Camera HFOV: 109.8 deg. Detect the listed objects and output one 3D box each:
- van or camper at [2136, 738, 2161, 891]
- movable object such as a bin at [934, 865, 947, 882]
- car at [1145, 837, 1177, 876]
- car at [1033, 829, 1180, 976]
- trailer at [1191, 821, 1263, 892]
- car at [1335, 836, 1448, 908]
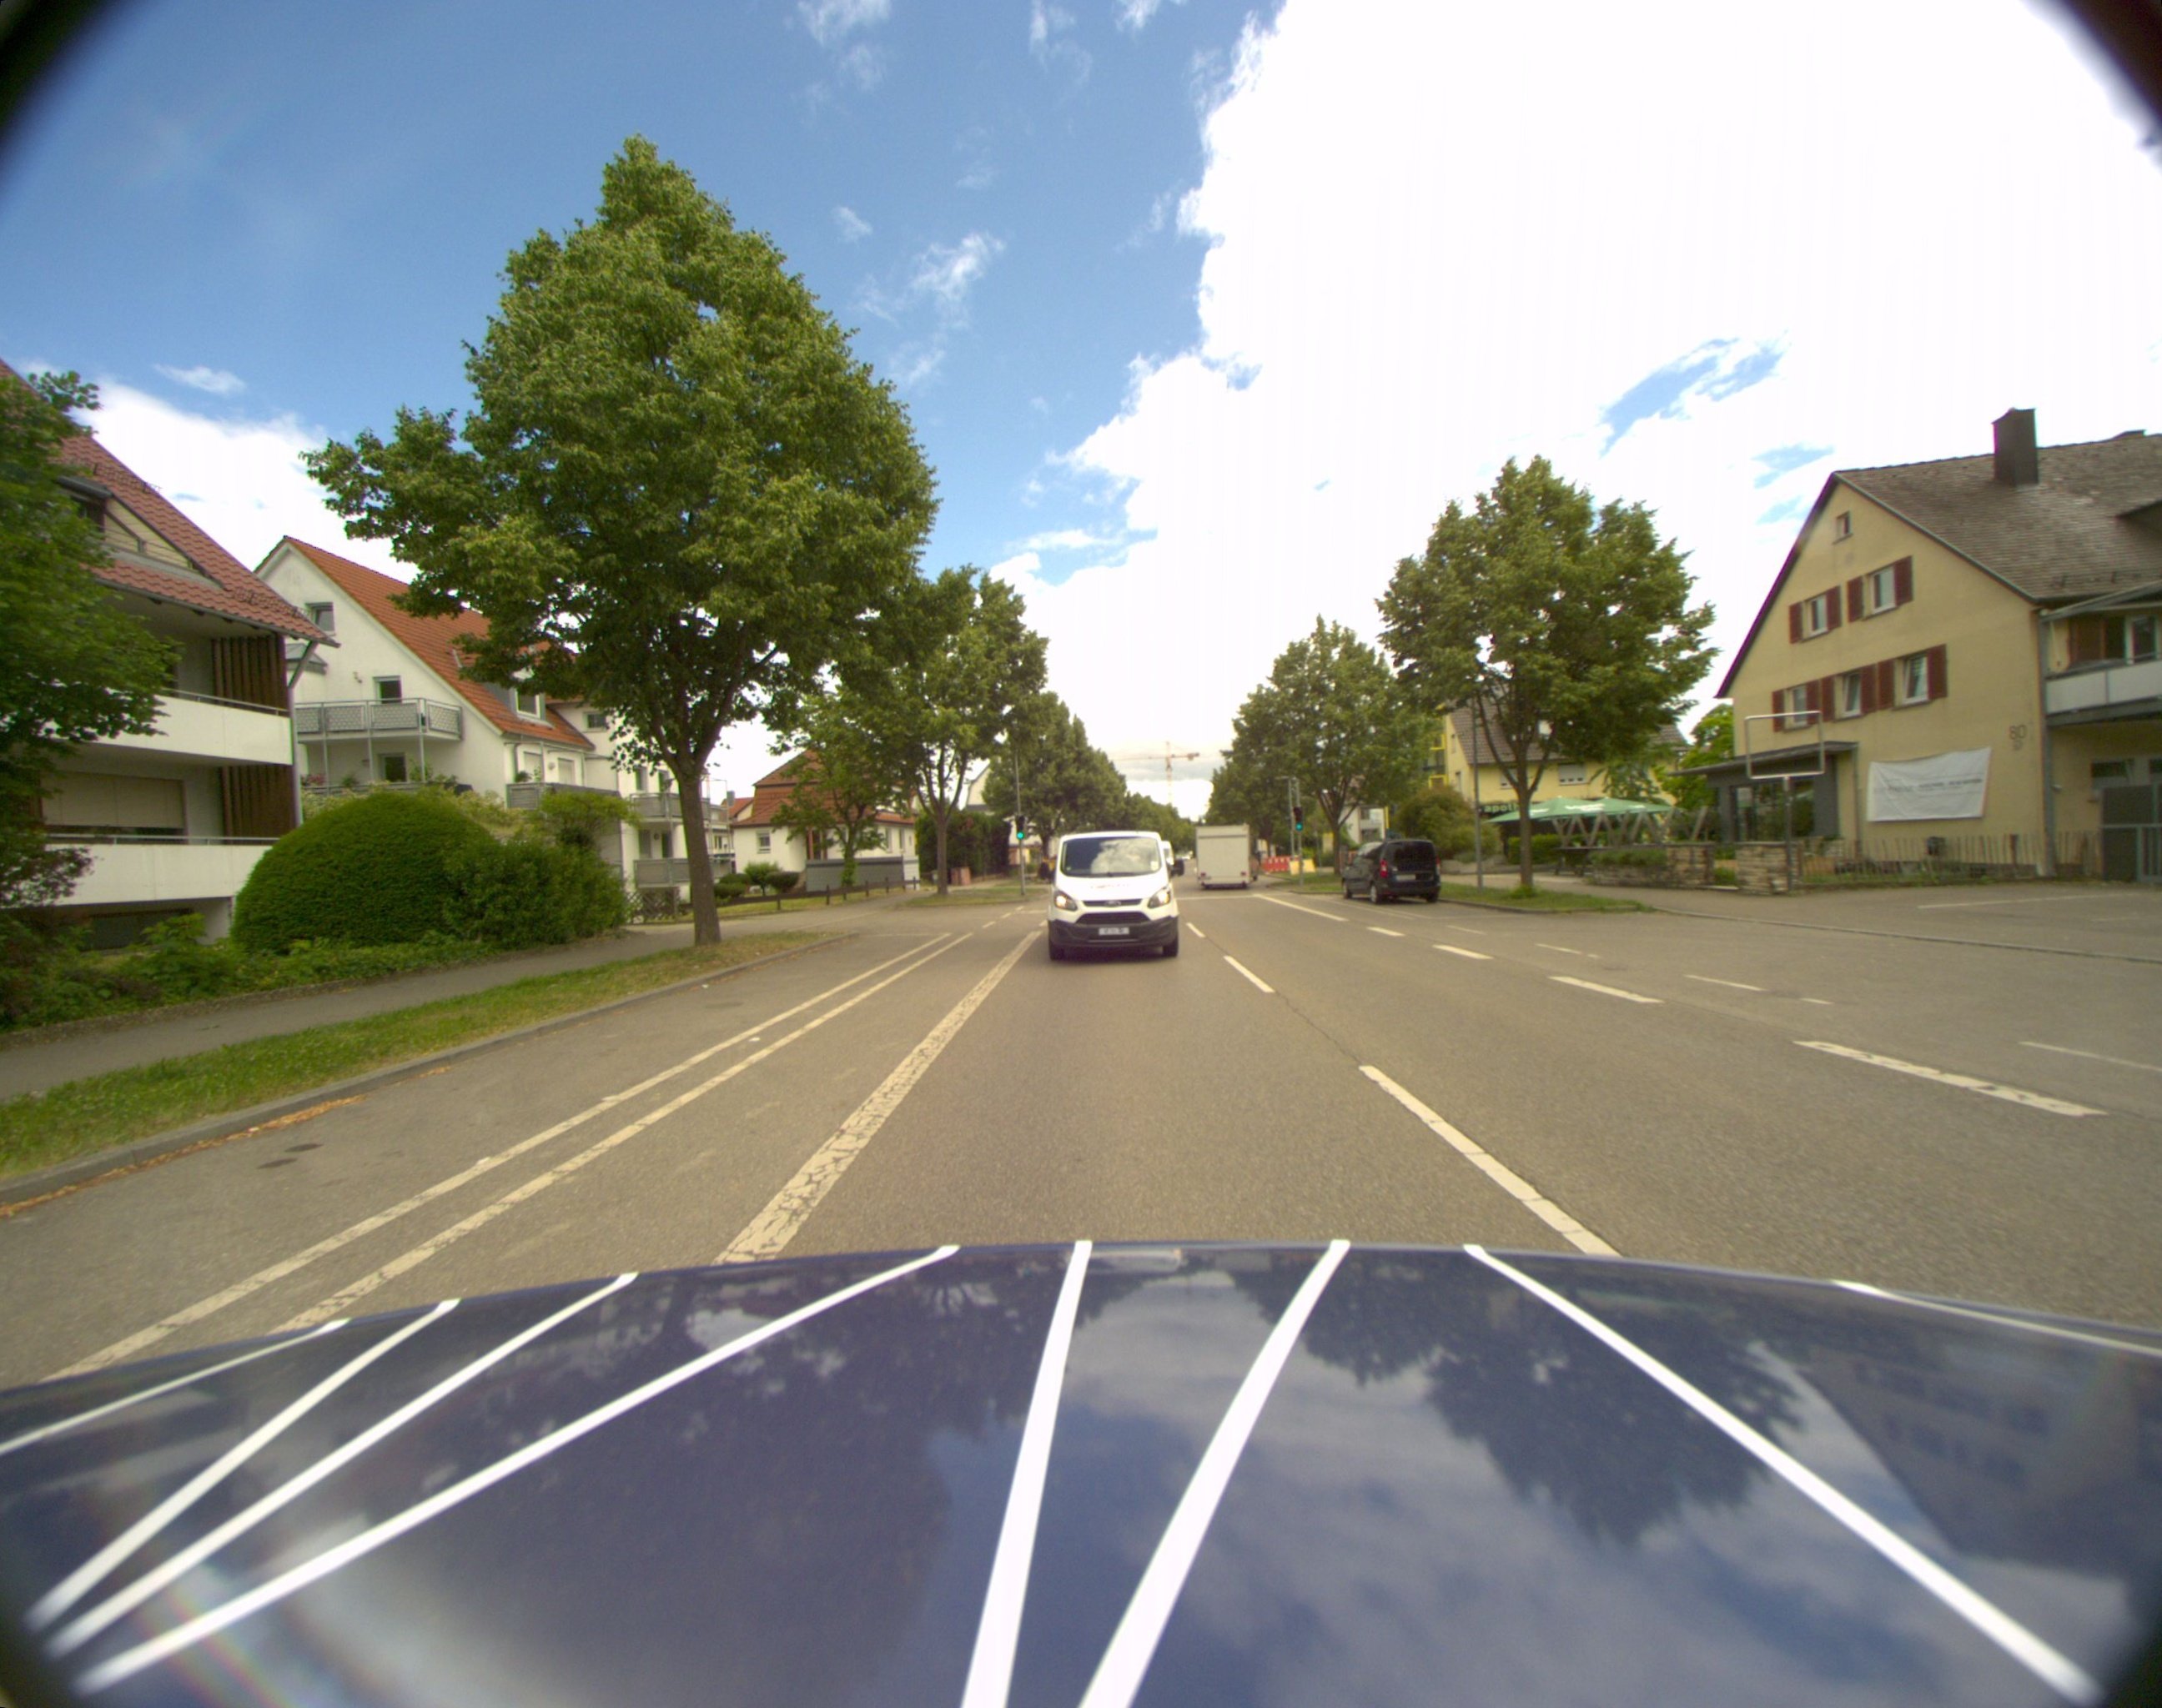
[{"bbox_3d":[21.052,-0.756,11.473,2.600,2.867,5.941,-2,0,11],"label":"van or camper"},{"bbox_3d":[-8.702,1.204,47.120,0.540,1.052,0.519,-2,1,17],"label":"movable object such as a bin"},{"bbox_3d":[5.777,0.181,54.389,1.997,2.584,4.002,-3,0,8],"label":"car"},{"bbox_3d":[0.621,0.677,13.331,1.998,2.002,5.321,-2,0,6],"label":"car"},{"bbox_3d":[6.877,0.075,35.093,2.638,2.862,6.878,-2,0,15],"label":"trailer"},{"bbox_3d":[8.976,0.474,22.368,1.711,1.863,4.399,-2,0,4],"label":"car"}]
